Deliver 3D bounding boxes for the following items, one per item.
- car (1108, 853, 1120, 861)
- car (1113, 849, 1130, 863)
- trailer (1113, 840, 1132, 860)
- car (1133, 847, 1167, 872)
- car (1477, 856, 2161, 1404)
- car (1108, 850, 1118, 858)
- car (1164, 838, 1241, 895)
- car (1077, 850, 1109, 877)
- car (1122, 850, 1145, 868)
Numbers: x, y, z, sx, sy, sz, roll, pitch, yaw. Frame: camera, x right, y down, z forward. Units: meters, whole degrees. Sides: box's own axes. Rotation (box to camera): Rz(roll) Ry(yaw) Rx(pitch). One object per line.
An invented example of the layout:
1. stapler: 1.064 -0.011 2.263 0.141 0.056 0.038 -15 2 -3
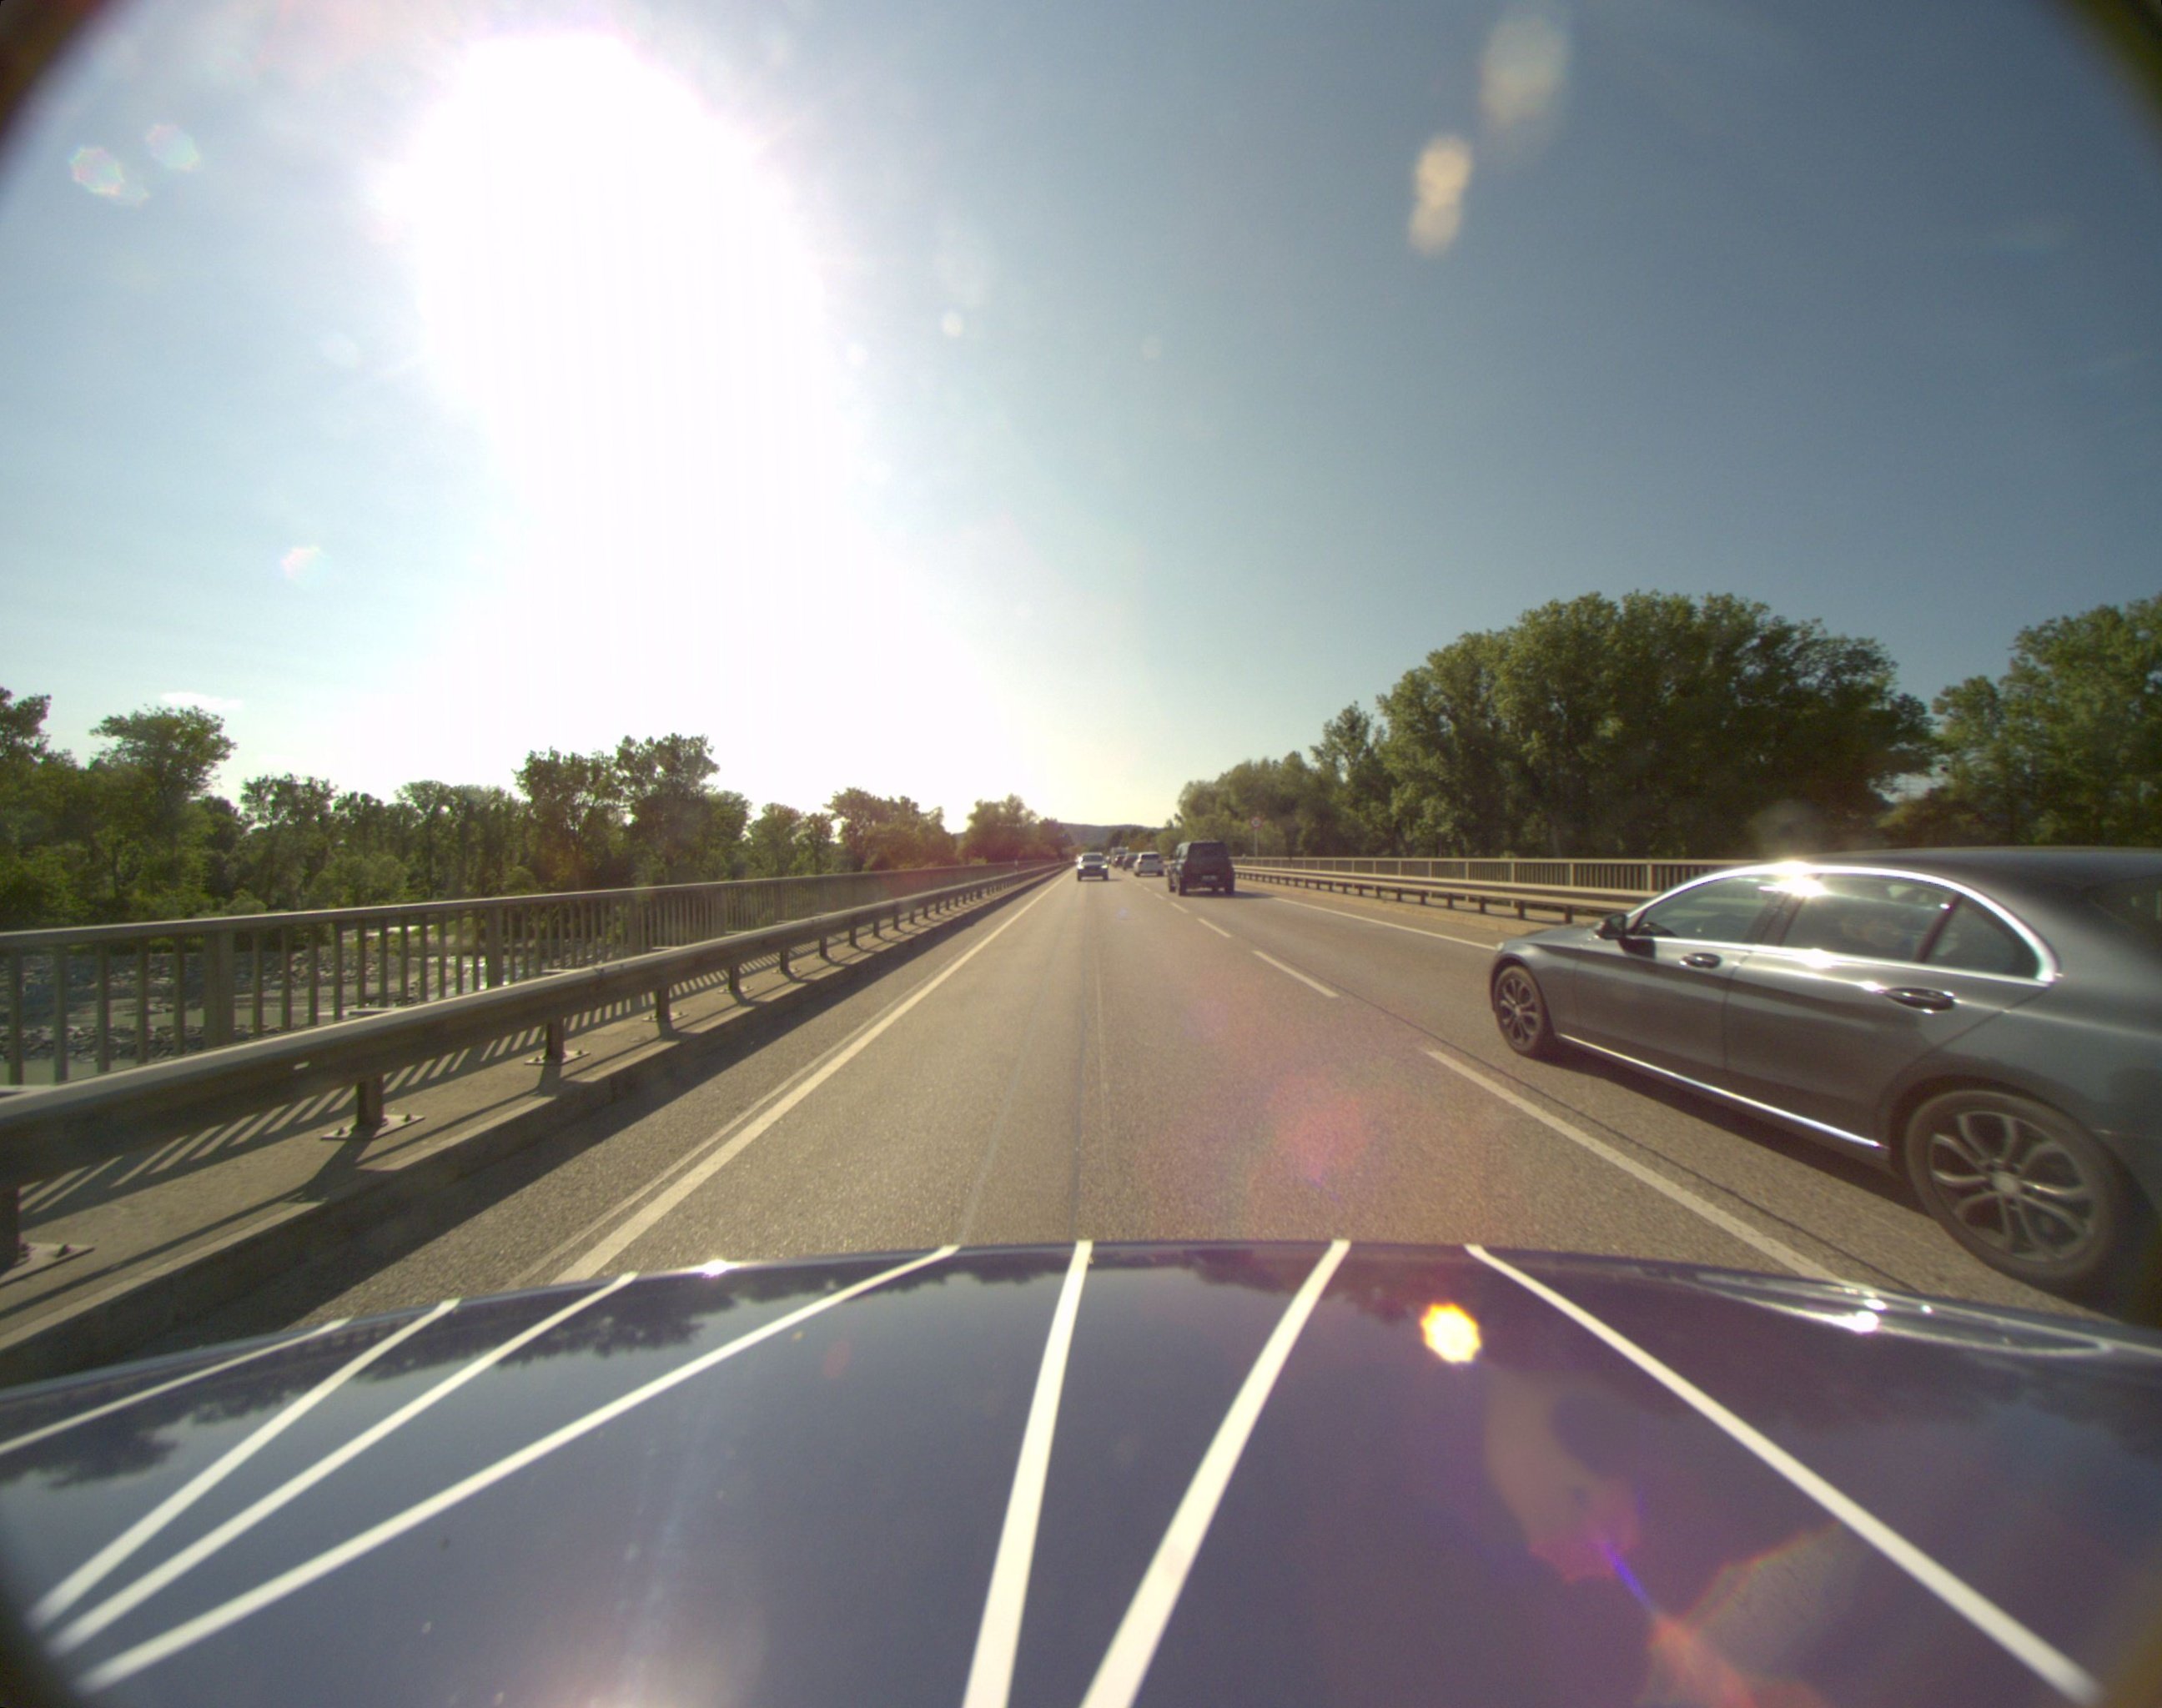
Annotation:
1. car: 5.894 0.483 137.008 1.791 1.412 4.650 -1 0 -1
2. car: 5.062 0.210 95.308 1.807 1.651 4.432 -2 0 0
3. trailer: 6.037 -0.554 109.887 2.561 2.721 8.063 -2 0 3
4. car: 4.878 0.358 54.307 1.988 1.641 4.598 -2 0 1
5. car: 3.878 0.774 3.518 1.770 1.439 4.456 -2 0 0
6. car: 6.241 0.024 150.010 1.736 1.427 4.486 -3 0 0
7. car: 4.417 0.412 28.471 2.042 1.863 5.069 -2 0 0
8. car: 0.785 0.547 48.782 1.871 1.598 4.379 -2 0 2
9. car: 5.256 0.502 76.158 1.954 1.684 4.476 -2 0 0
